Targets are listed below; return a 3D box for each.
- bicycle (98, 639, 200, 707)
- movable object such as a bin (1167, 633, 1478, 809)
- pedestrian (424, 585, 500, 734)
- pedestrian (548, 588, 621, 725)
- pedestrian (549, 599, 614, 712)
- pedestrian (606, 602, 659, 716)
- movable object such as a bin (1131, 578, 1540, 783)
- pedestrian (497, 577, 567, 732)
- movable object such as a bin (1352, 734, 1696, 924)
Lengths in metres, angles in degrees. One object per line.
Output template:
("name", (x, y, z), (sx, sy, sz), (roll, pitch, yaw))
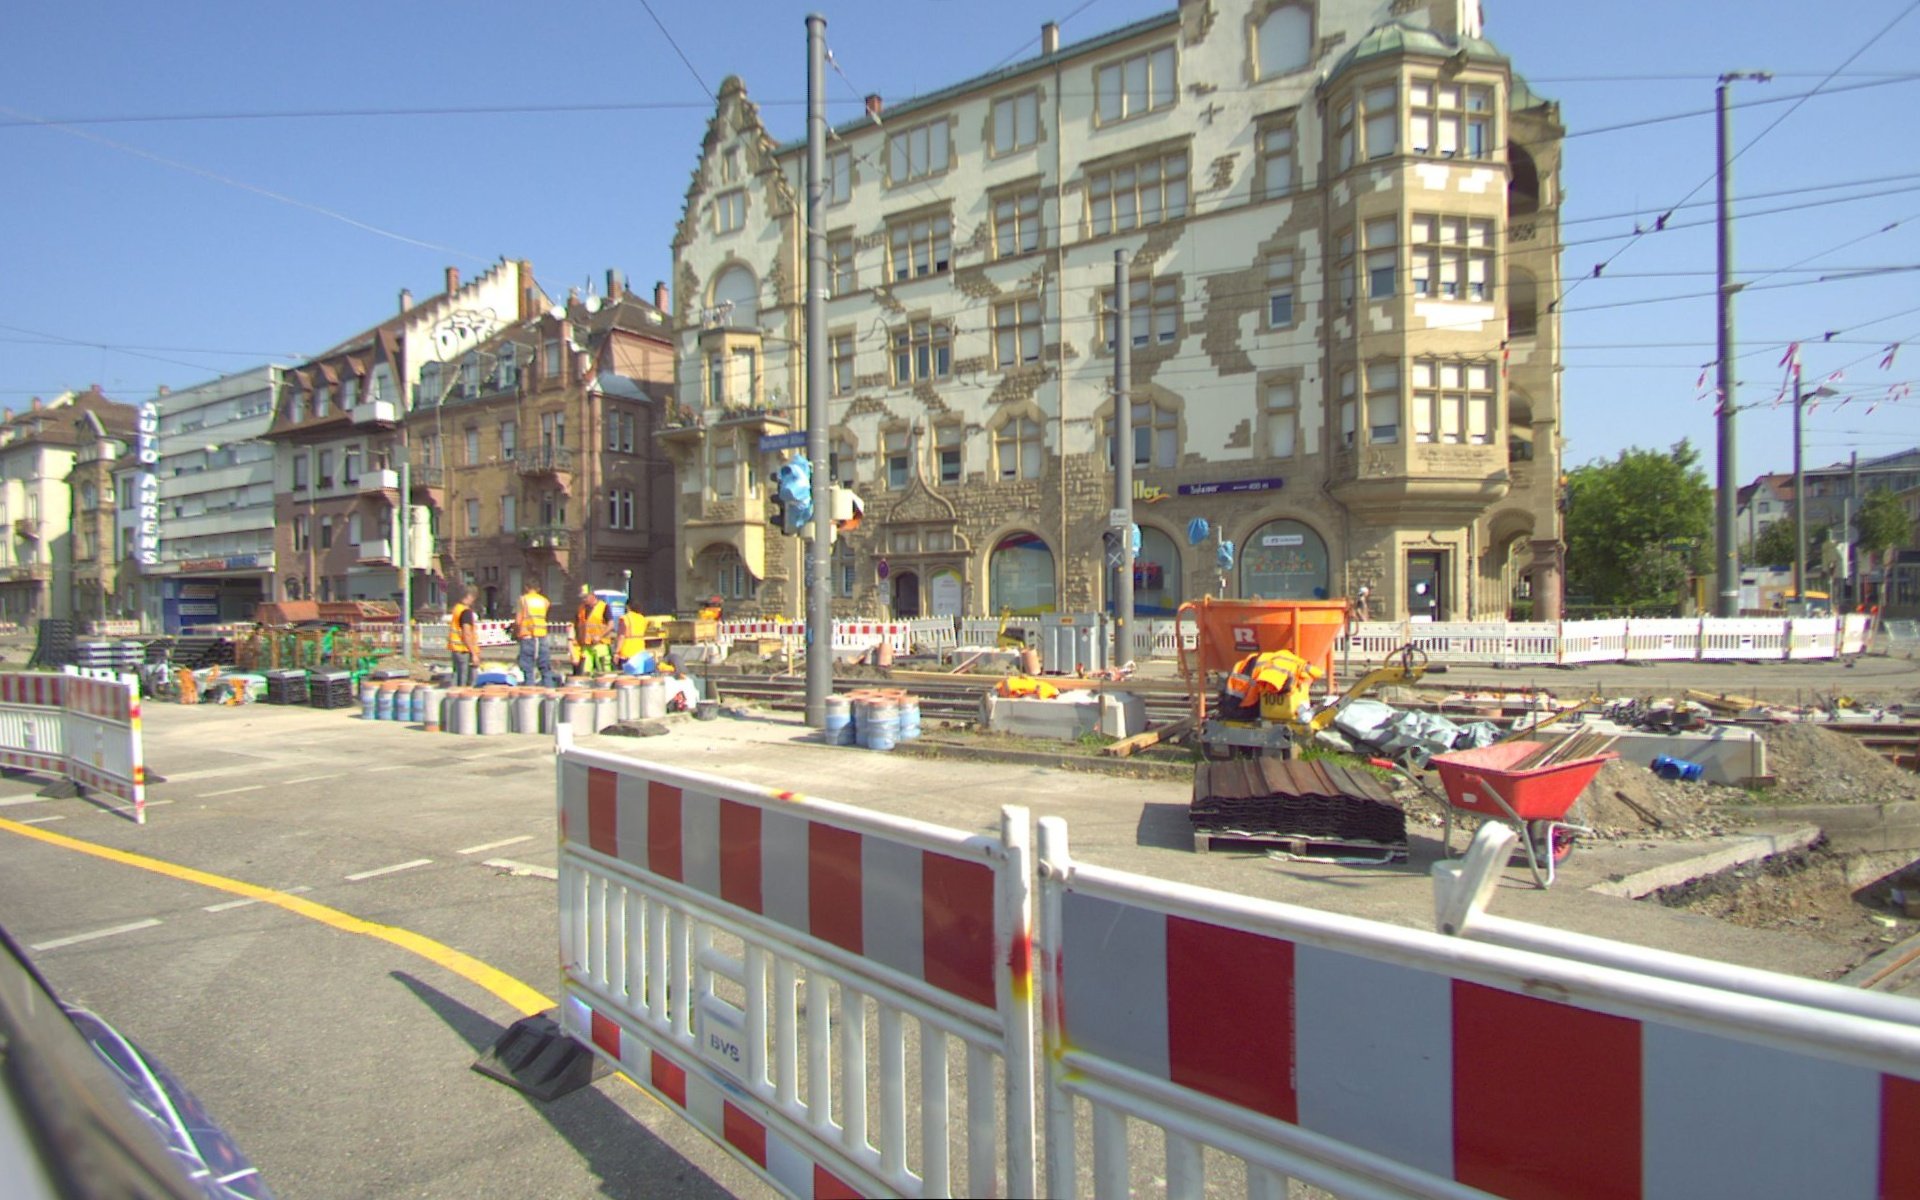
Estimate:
("bicycle", (-14.477, 1.281, 18.055), (1.955, 1.107, 0.560), (0, 1, 23))
("movable object such as a bin", (2.878, 0.887, 8.144), (2.206, 1.220, 0.879), (-1, -1, 34))
("pedestrian", (-6.658, 0.779, 13.559), (0.674, 1.941, 0.715), (0, -1, -5))
("pedestrian", (-5.359, 0.792, 14.455), (0.708, 1.885, 0.712), (-1, -2, 41))
("pedestrian", (-6.351, 0.909, 16.989), (0.816, 1.830, 0.887), (1, -2, -35))
("pedestrian", (-5.394, 0.956, 16.711), (0.742, 1.823, 0.832), (0, -2, -13))
("movable object such as a bin", (3.414, 0.644, 9.352), (3.277, 1.570, 1.587), (-1, -1, 34))
("pedestrian", (-5.741, 0.719, 13.603), (0.664, 2.030, 0.697), (0, -1, -5))
("movable object such as a bin", (2.996, 1.150, 5.370), (1.693, 0.719, 0.720), (0, -1, -24))
